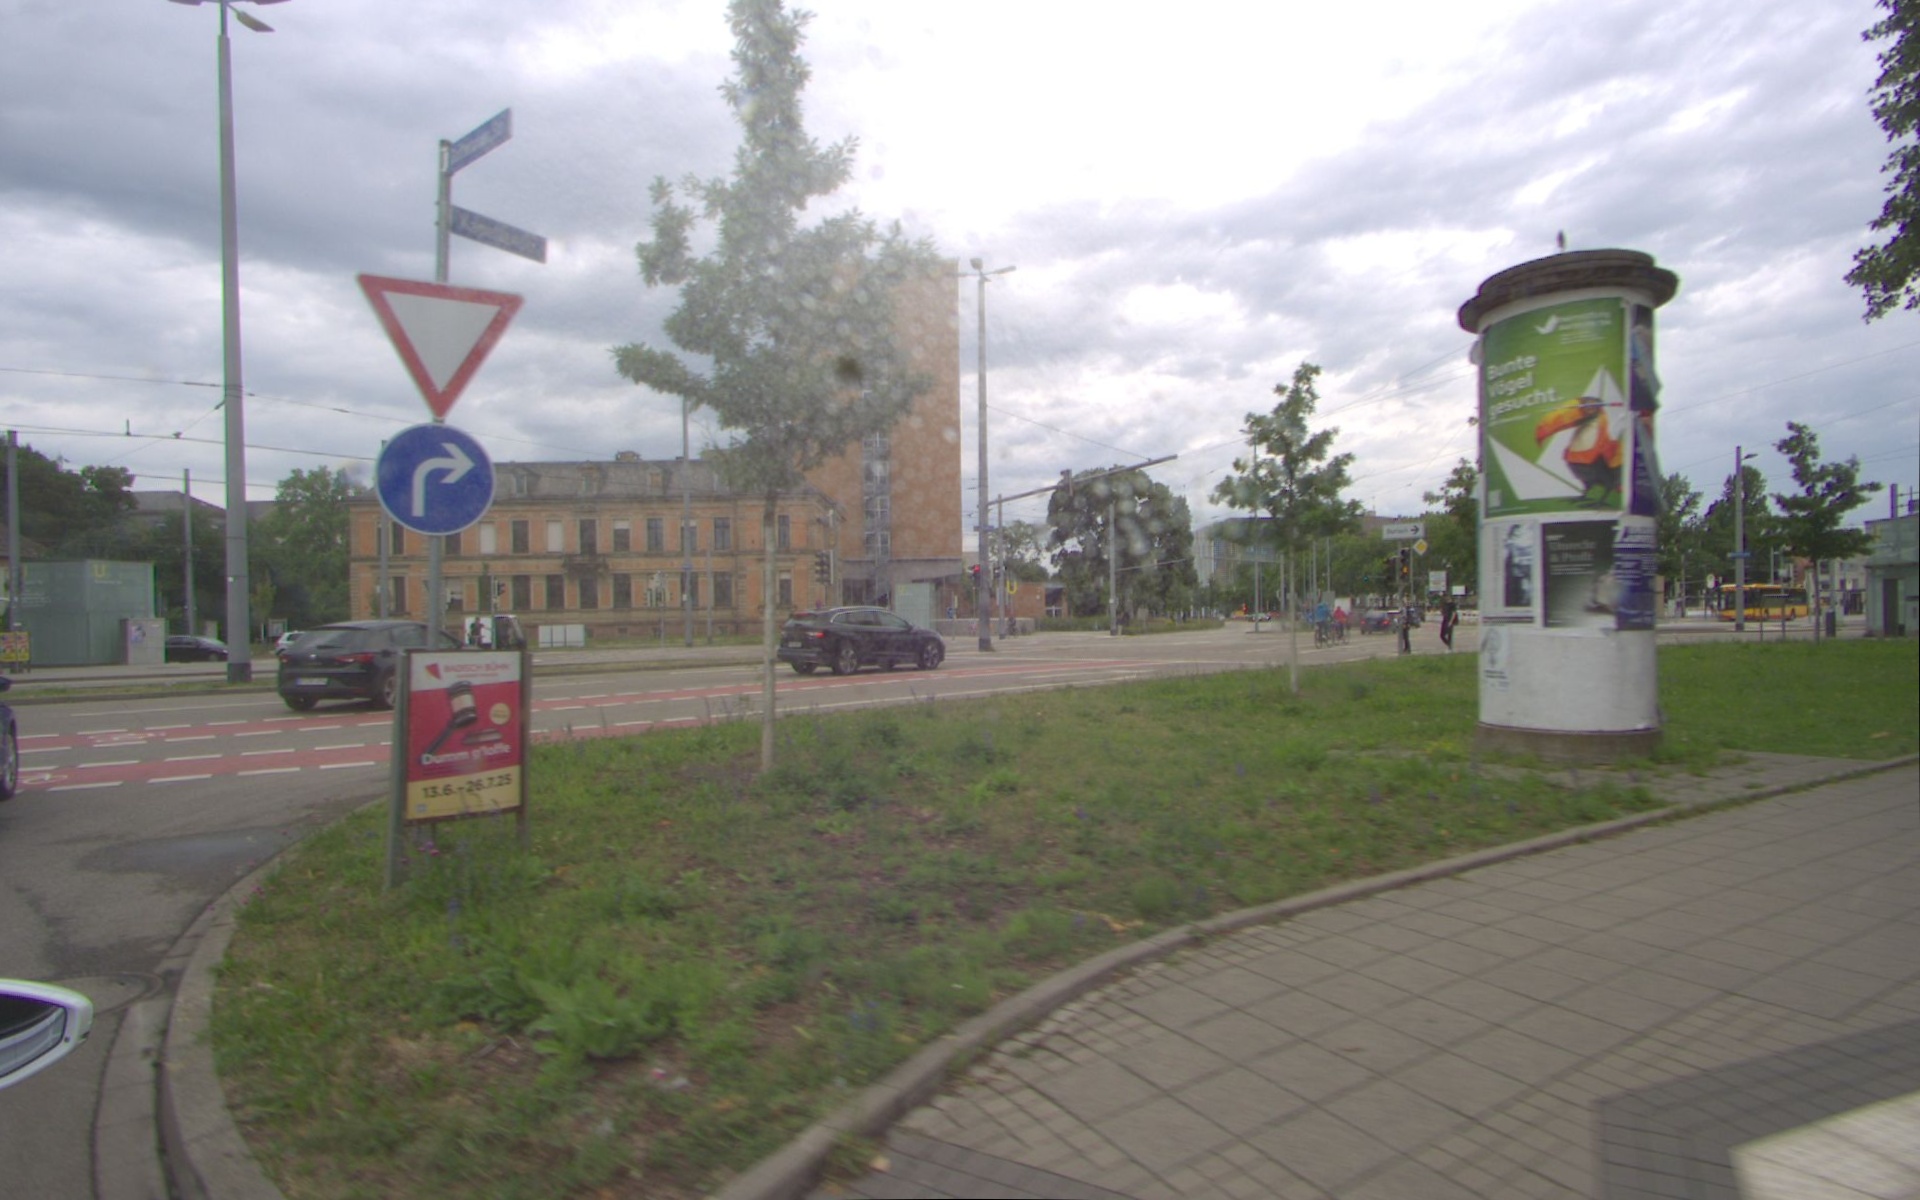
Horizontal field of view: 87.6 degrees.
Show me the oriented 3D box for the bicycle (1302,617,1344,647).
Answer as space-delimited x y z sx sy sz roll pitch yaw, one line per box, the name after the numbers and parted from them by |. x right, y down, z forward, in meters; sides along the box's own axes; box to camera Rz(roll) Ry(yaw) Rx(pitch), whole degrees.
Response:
14.192 1.241 39.098 0.858 1.119 2.284 -1 0 39 | bicycle

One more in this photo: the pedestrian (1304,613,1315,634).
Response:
25.852 1.713 74.046 0.719 1.562 0.415 -1 0 32 | pedestrian

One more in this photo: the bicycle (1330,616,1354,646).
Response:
15.901 1.255 41.645 0.880 1.193 2.296 -1 0 23 | bicycle

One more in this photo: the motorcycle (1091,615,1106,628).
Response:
14.067 2.215 101.515 1.444 1.284 0.512 -1 0 -2 | motorcycle

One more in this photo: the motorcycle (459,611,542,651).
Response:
-24.294 1.612 52.988 3.615 2.040 1.696 -1 0 3 | motorcycle

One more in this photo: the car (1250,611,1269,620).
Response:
50.866 2.570 170.021 1.747 1.483 4.000 -1 -1 -4 | car

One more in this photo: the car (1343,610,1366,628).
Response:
33.165 1.560 84.063 1.752 1.483 3.989 -1 -1 22 | car

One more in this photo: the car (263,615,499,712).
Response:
-9.868 1.018 17.444 1.677 1.468 3.812 -1 -1 4 | car

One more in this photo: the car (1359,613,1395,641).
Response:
25.756 1.678 61.841 1.966 1.705 3.991 -1 -2 23 | car

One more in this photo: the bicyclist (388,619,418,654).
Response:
-26.263 1.711 47.261 0.900 1.644 0.855 -1 -1 4 | bicyclist

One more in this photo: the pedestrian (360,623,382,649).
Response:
-40.966 2.500 69.672 1.106 1.786 0.758 -1 0 -8 | pedestrian

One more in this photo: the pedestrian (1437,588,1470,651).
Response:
14.902 0.573 30.213 0.976 1.868 0.532 -1 0 -41 | pedestrian

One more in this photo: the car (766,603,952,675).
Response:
-2.403 0.902 24.728 4.466 1.618 1.765 0 -1 -45 | car

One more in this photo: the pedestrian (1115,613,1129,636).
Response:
13.660 2.056 84.574 1.012 1.959 0.699 -1 0 19 | pedestrian

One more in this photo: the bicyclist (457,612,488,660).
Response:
-19.247 1.405 39.532 0.807 1.822 1.020 -3 1 -44 | bicyclist

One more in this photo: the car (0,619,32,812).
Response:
-7.909 0.882 6.900 1.764 1.507 4.433 0 -1 -37 | car

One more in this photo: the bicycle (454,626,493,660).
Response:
-19.215 1.692 39.509 0.808 1.258 1.982 -2 -1 -43 | bicycle

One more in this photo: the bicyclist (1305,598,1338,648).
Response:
14.060 0.886 38.939 0.864 1.876 1.039 0 0 40 | bicyclist

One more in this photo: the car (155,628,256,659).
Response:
-37.645 2.147 50.008 4.064 1.468 1.696 -1 0 9 | car

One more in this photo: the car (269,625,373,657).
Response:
-31.544 2.036 49.507 4.080 1.473 1.761 -1 0 5 | car

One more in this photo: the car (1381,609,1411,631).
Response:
31.512 1.453 72.281 1.754 1.483 3.984 -1 0 27 | car

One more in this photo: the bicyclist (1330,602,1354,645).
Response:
15.763 0.963 41.336 0.871 1.755 0.892 -1 0 23 | bicyclist

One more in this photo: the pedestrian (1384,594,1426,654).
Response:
14.637 0.789 32.965 1.083 1.932 0.736 0 0 2 | pedestrian

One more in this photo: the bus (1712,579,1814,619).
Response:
66.909 -0.045 83.289 11.377 3.164 2.954 0 -1 -32 | bus
